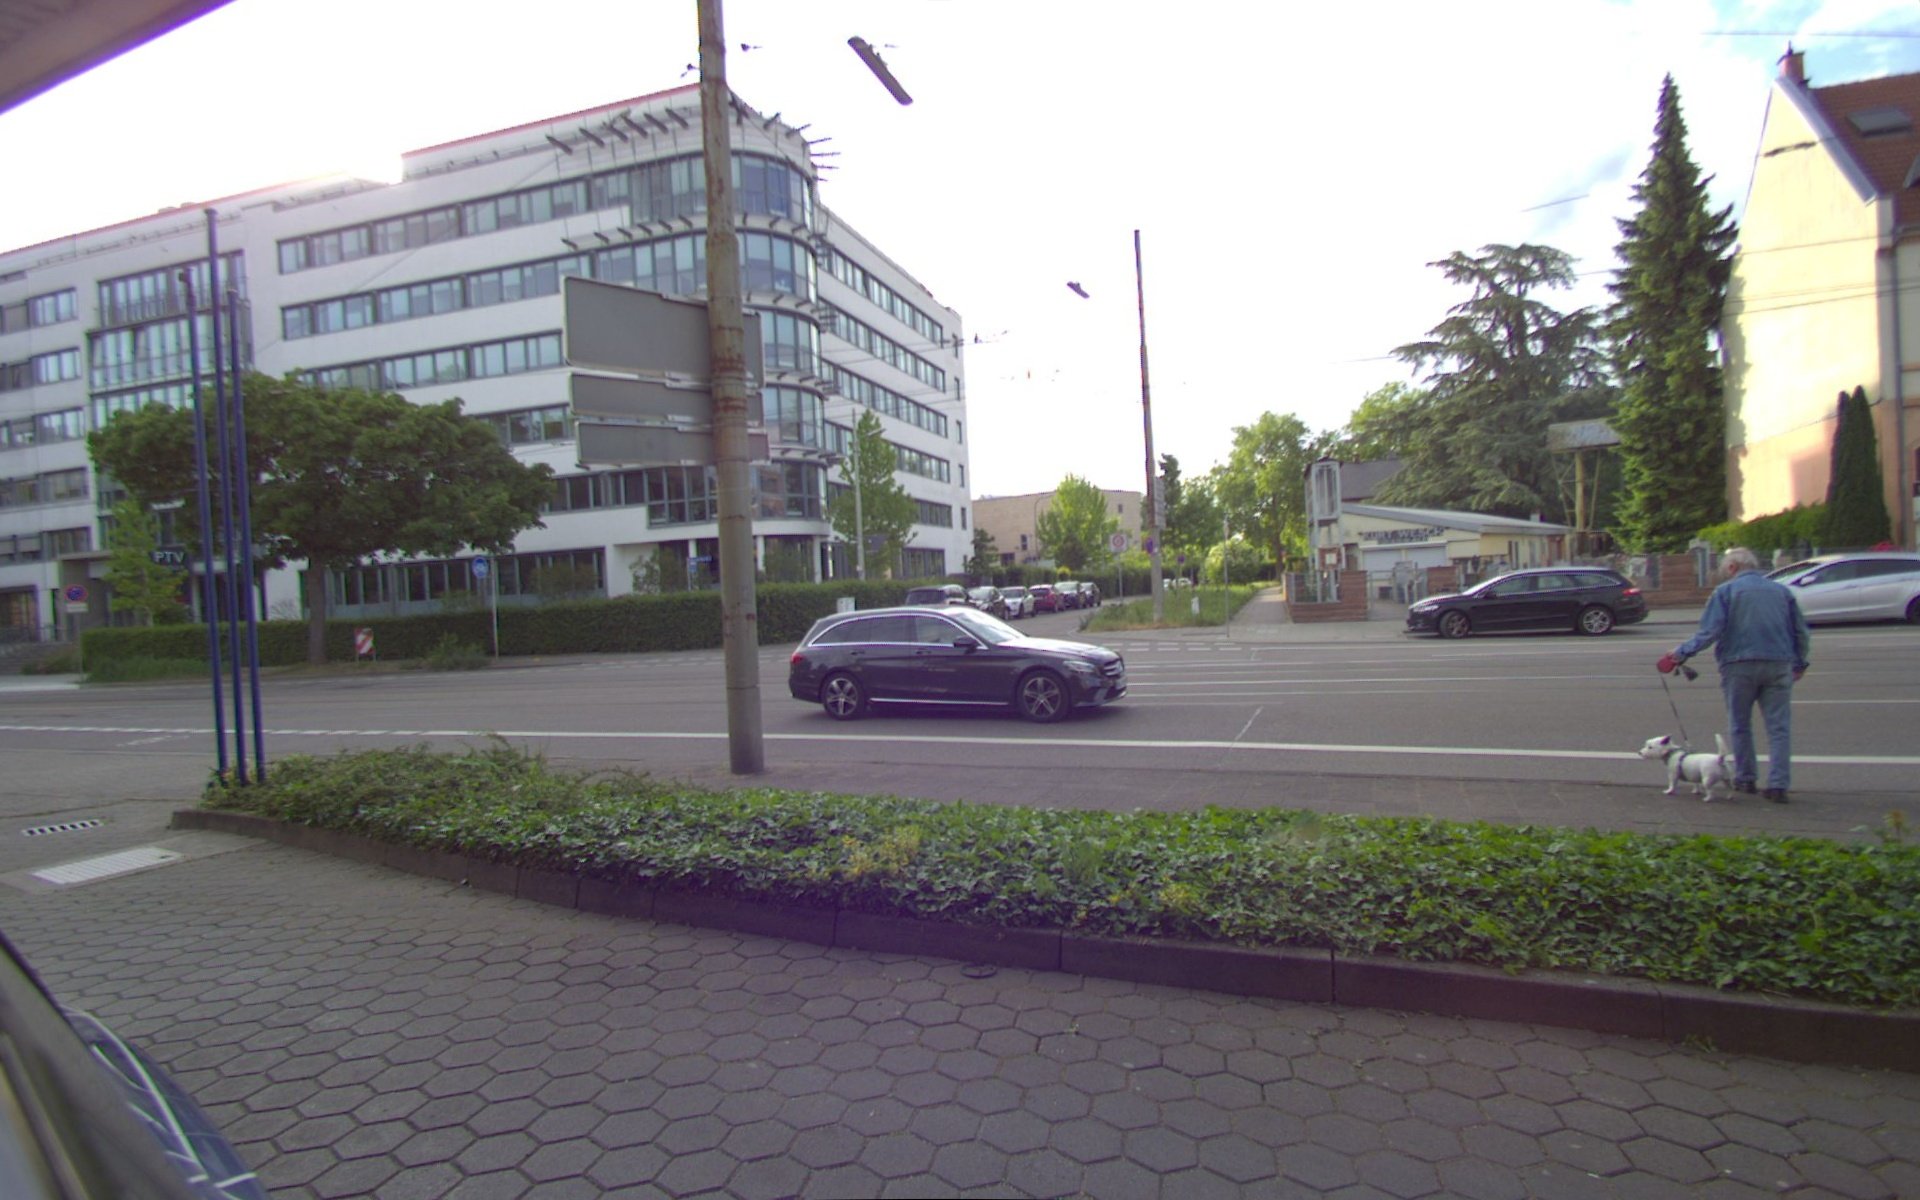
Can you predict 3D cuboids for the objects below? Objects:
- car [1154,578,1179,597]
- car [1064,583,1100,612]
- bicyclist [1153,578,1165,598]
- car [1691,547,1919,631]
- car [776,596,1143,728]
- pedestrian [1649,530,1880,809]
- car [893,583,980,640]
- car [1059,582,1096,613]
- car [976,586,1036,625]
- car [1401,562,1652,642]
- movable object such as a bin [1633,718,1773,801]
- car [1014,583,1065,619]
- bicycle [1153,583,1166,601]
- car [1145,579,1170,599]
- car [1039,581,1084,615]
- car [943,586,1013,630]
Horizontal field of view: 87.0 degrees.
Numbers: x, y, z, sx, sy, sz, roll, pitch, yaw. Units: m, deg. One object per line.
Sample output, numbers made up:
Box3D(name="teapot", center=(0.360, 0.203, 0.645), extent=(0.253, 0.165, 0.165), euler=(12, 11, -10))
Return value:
Box3D(name="car", center=(21.681, -1.346, 106.165), extent=(1.849, 1.748, 4.246), euler=(-3, 1, 19))
Box3D(name="car", center=(8.085, -0.176, 66.759), extent=(1.845, 1.748, 4.256), euler=(-3, 0, 13))
Box3D(name="bicyclist", center=(16.467, -0.996, 83.751), extent=(0.859, 1.617, 1.023), euler=(-2, 3, 17))
Box3D(name="car", center=(18.419, -0.247, 21.385), extent=(4.424, 1.494, 1.713), euler=(-3, 1, 21))
Box3D(name="car", center=(-0.030, 0.820, 13.481), extent=(4.542, 1.479, 1.741), euler=(-3, 1, 24))
Box3D(name="pedestrian", center=(5.286, 0.417, 6.745), extent=(1.000, 1.680, 0.961), euler=(-3, 1, 30))
Box3D(name="car", center=(-0.730, 0.361, 35.418), extent=(1.994, 1.704, 4.274), euler=(-3, 1, 13))
Box3D(name="car", center=(7.283, -0.164, 62.498), extent=(1.731, 1.748, 4.030), euler=(-3, 0, 13))
Box3D(name="car", center=(2.137, 0.213, 45.789), extent=(1.929, 1.530, 4.274), euler=(-3, 0, 13))
Box3D(name="car", center=(12.908, 0.054, 23.446), extent=(4.742, 1.511, 2.001), euler=(-3, 1, 21))
Box3D(name="movable object such as a bin", center=(4.985, 1.065, 6.823), extent=(0.475, 0.424, 0.678), euler=(-3, 1, 8))
Box3D(name="car", center=(4.170, 0.021, 52.495), extent=(1.929, 1.650, 4.274), euler=(-3, 0, 13))
Box3D(name="bicycle", center=(16.510, -0.674, 83.848), extent=(0.859, 1.320, 1.909), euler=(-2, 3, 17))
Box3D(name="car", center=(19.690, -1.095, 100.796), extent=(1.849, 1.748, 4.247), euler=(-3, 1, 19))
Box3D(name="car", center=(5.829, -0.153, 57.724), extent=(1.929, 1.748, 4.512), euler=(-3, 0, 13))
Box3D(name="car", center=(0.789, 0.291, 40.978), extent=(1.929, 1.551, 4.274), euler=(-3, 0, 13))
